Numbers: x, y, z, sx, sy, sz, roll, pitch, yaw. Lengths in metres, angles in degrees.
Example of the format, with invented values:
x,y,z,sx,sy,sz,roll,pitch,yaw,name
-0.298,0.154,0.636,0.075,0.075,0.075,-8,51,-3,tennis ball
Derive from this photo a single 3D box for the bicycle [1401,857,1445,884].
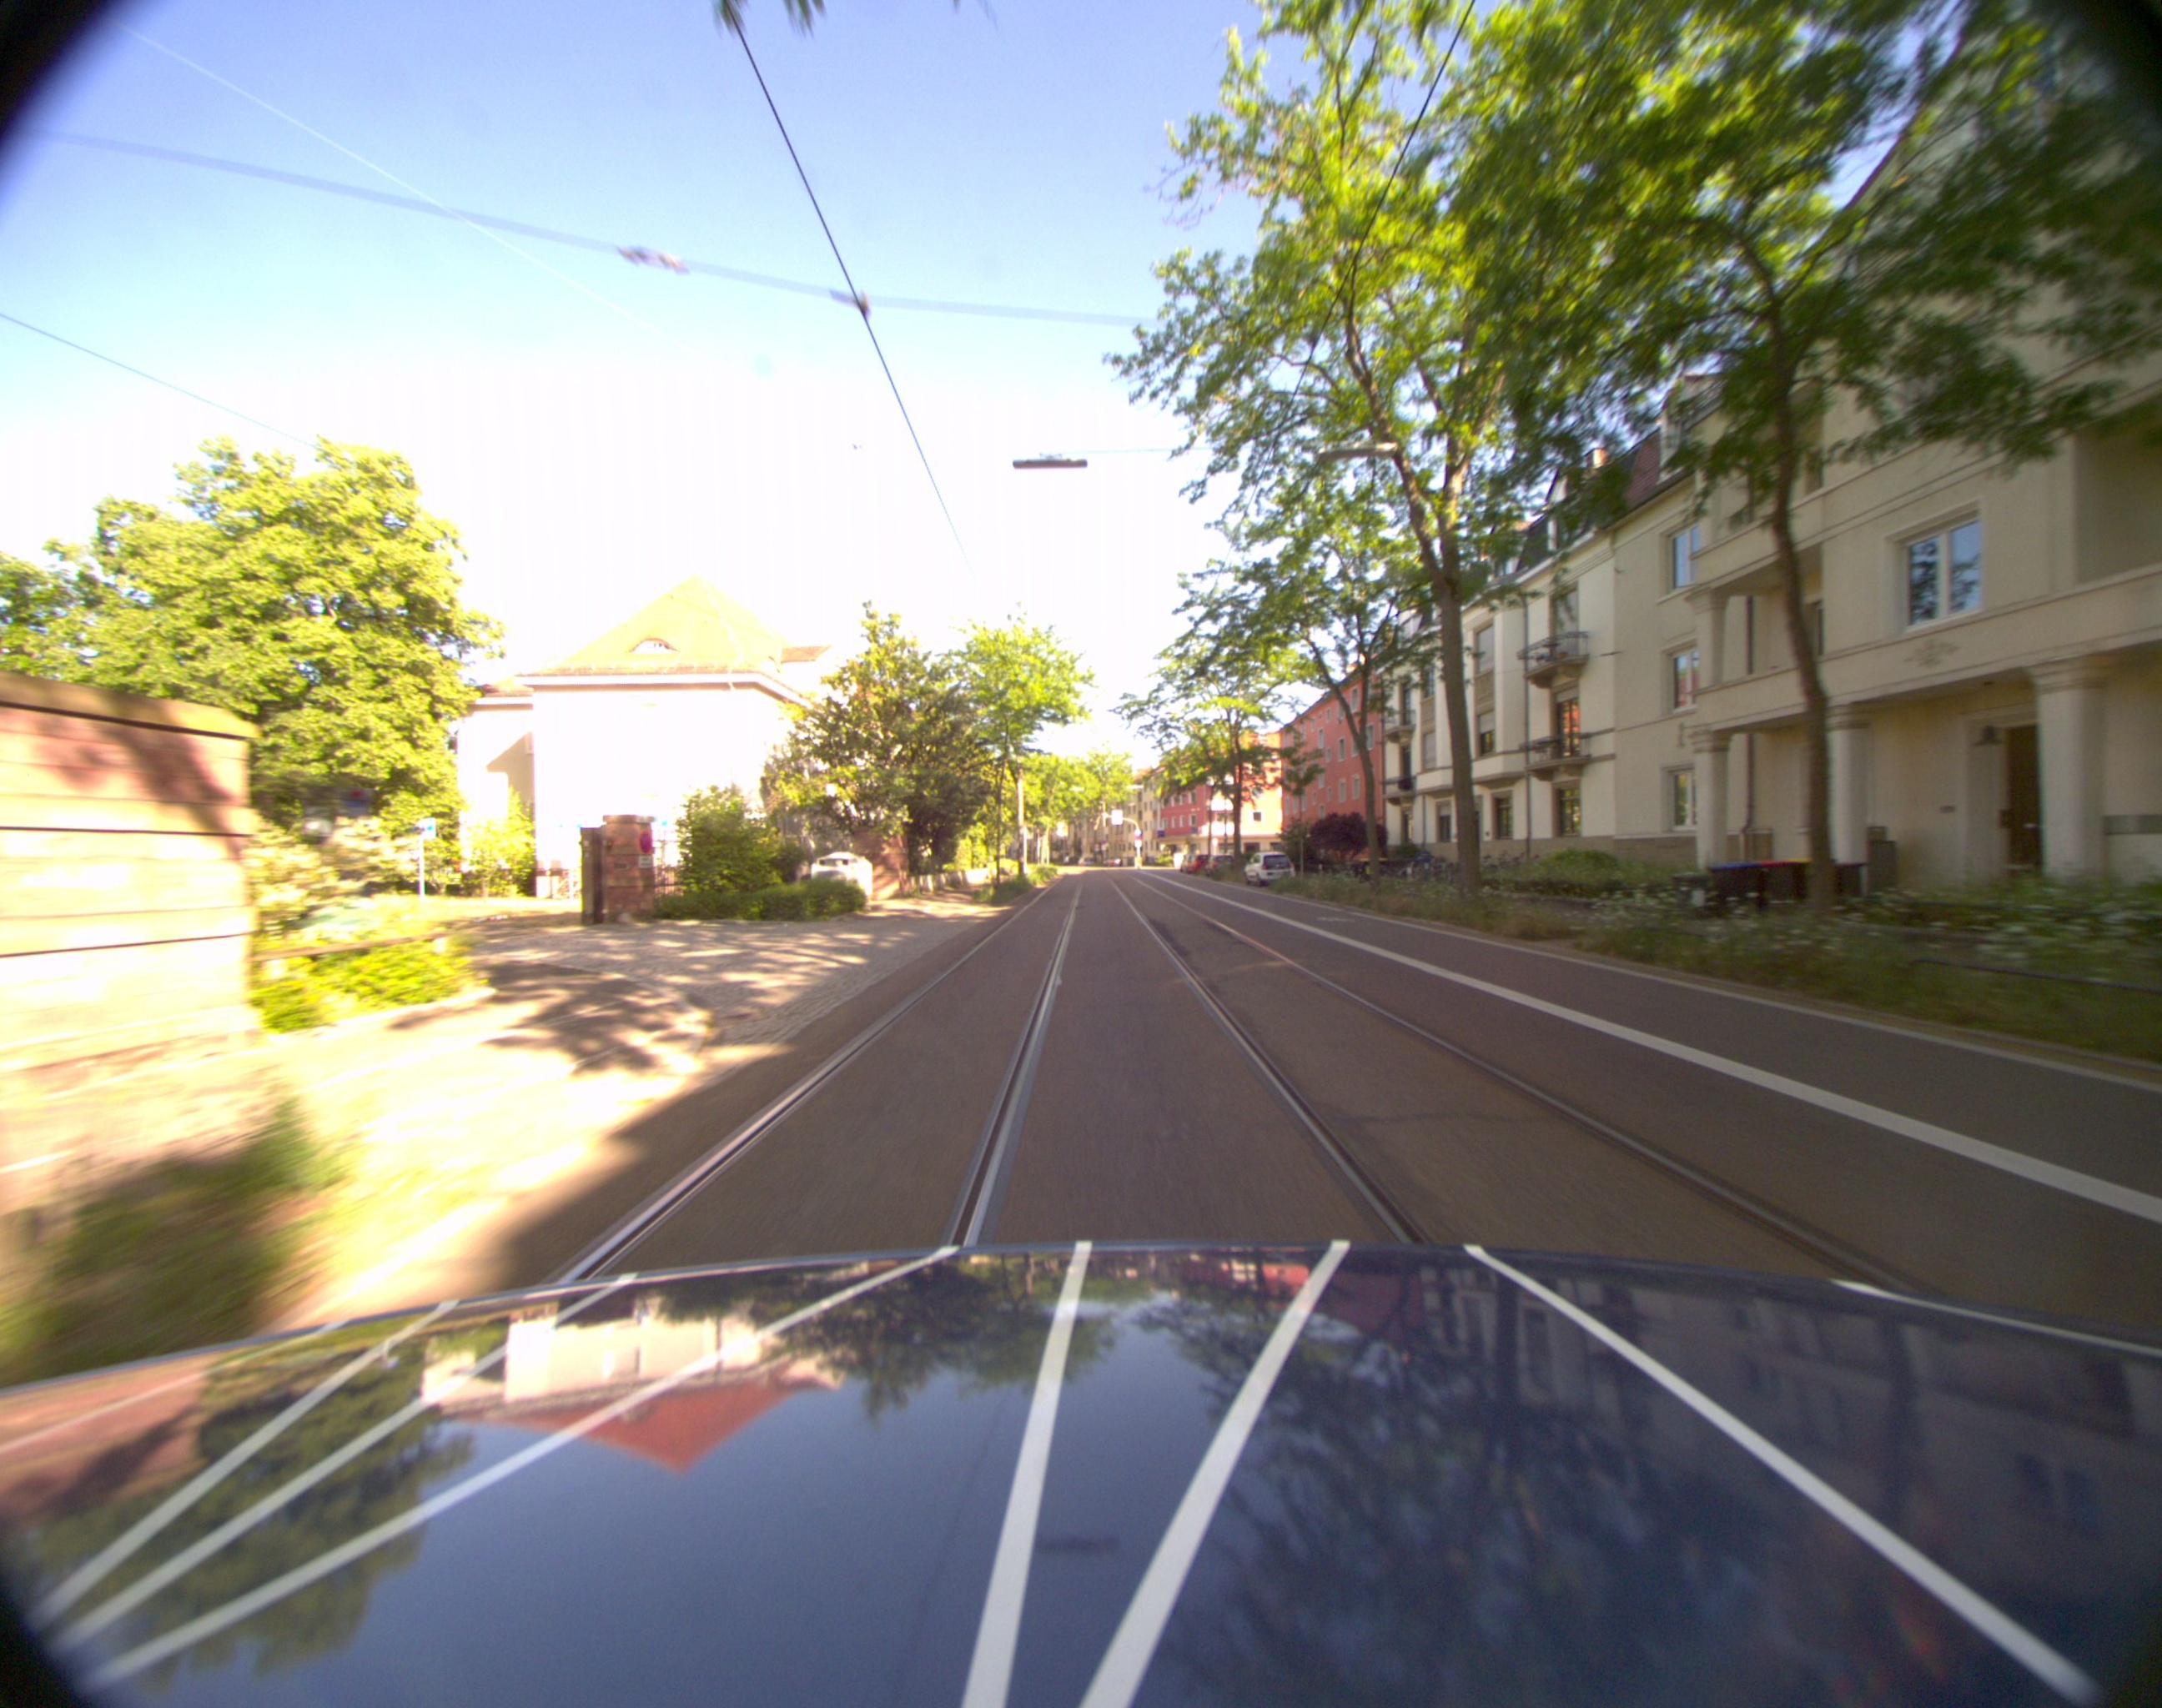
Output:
x,y,z,sx,sy,sz,roll,pitch,yaw,name
13.389,0.624,29.726,1.865,0.991,0.557,-1,1,-28,bicycle

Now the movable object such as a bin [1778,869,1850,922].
x,y,z,sx,sy,sz,roll,pitch,yaw,name
13.764,0.770,14.285,0.629,0.916,0.740,-2,1,1,movable object such as a bin

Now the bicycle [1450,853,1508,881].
x,y,z,sx,sy,sz,roll,pitch,yaw,name
15.235,0.518,29.113,1.857,0.990,0.559,-3,-1,42,bicycle

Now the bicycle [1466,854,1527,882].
x,y,z,sx,sy,sz,roll,pitch,yaw,name
15.327,0.524,28.050,1.857,0.990,0.559,-3,-1,42,bicycle

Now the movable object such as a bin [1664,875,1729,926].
x,y,z,sx,sy,sz,roll,pitch,yaw,name
11.756,0.879,14.531,0.629,0.916,0.740,-2,1,1,movable object such as a bin

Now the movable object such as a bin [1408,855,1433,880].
x,y,z,sx,sy,sz,roll,pitch,yaw,name
15.124,0.604,33.884,0.739,1.107,0.895,-1,1,1,movable object such as a bin

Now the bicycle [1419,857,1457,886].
x,y,z,sx,sy,sz,roll,pitch,yaw,name
12.919,0.616,27.488,1.866,0.991,0.557,-1,1,-43,bicycle

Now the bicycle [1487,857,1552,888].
x,y,z,sx,sy,sz,roll,pitch,yaw,name
15.141,0.640,26.253,1.857,0.990,0.559,-3,-1,35,bicycle

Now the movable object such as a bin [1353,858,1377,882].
x,y,z,sx,sy,sz,roll,pitch,yaw,name
12.678,0.695,33.907,0.739,1.035,0.895,-1,1,1,movable object such as a bin

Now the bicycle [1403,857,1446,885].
x,y,z,sx,sy,sz,roll,pitch,yaw,name
12.966,0.629,28.669,1.865,0.991,0.557,-1,1,-33,bicycle

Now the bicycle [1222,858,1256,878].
x,y,z,sx,sy,sz,roll,pitch,yaw,name
9.037,0.809,43.553,1.816,1.114,0.543,-1,1,1,bicycle

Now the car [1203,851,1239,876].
x,y,z,sx,sy,sz,roll,pitch,yaw,name
8.768,0.557,47.776,1.558,1.446,3.668,-2,0,1,car

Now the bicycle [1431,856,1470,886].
x,y,z,sx,sy,sz,roll,pitch,yaw,name
12.847,0.564,26.379,1.866,0.991,0.557,-1,1,-43,bicycle

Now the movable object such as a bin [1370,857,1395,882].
x,y,z,sx,sy,sz,roll,pitch,yaw,name
13.434,0.685,33.886,0.739,1.048,0.895,-1,1,1,movable object such as a bin

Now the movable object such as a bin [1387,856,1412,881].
x,y,z,sx,sy,sz,roll,pitch,yaw,name
14.200,0.635,33.879,0.739,1.078,0.895,-1,1,1,movable object such as a bin

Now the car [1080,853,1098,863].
x,y,z,sx,sy,sz,roll,pitch,yaw,name
1.144,0.573,110.850,1.880,1.390,3.996,-4,0,-10,car

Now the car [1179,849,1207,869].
x,y,z,sx,sy,sz,roll,pitch,yaw,name
9.063,0.381,61.798,1.577,1.496,4.096,-2,0,-1,car

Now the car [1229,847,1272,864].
x,y,z,sx,sy,sz,roll,pitch,yaw,name
17.890,0.193,80.111,4.280,1.769,1.791,0,0,17,car

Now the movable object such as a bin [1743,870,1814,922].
x,y,z,sx,sy,sz,roll,pitch,yaw,name
13.096,0.773,14.286,0.629,0.916,0.740,-2,1,1,movable object such as a bin

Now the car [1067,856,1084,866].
x,y,z,sx,sy,sz,roll,pitch,yaw,name
-0.823,1.055,117.821,1.880,1.390,3.996,-4,0,-10,car

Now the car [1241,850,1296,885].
x,y,z,sx,sy,sz,roll,pitch,yaw,name
8.814,0.595,35.978,1.629,1.526,3.689,-2,0,-1,car

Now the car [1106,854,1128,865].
x,y,z,sx,sy,sz,roll,pitch,yaw,name
4.578,0.710,97.839,1.880,1.390,3.996,-4,0,-10,car

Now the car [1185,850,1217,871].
x,y,z,sx,sy,sz,roll,pitch,yaw,name
8.902,0.456,56.509,1.577,1.446,4.095,-2,0,-2,car

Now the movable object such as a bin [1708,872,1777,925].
x,y,z,sx,sy,sz,roll,pitch,yaw,name
12.453,0.826,14.325,0.629,0.916,0.740,-2,1,1,movable object such as a bin

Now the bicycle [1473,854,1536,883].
x,y,z,sx,sy,sz,roll,pitch,yaw,name
15.146,0.532,27.201,1.857,0.990,0.559,-3,-1,42,bicycle
